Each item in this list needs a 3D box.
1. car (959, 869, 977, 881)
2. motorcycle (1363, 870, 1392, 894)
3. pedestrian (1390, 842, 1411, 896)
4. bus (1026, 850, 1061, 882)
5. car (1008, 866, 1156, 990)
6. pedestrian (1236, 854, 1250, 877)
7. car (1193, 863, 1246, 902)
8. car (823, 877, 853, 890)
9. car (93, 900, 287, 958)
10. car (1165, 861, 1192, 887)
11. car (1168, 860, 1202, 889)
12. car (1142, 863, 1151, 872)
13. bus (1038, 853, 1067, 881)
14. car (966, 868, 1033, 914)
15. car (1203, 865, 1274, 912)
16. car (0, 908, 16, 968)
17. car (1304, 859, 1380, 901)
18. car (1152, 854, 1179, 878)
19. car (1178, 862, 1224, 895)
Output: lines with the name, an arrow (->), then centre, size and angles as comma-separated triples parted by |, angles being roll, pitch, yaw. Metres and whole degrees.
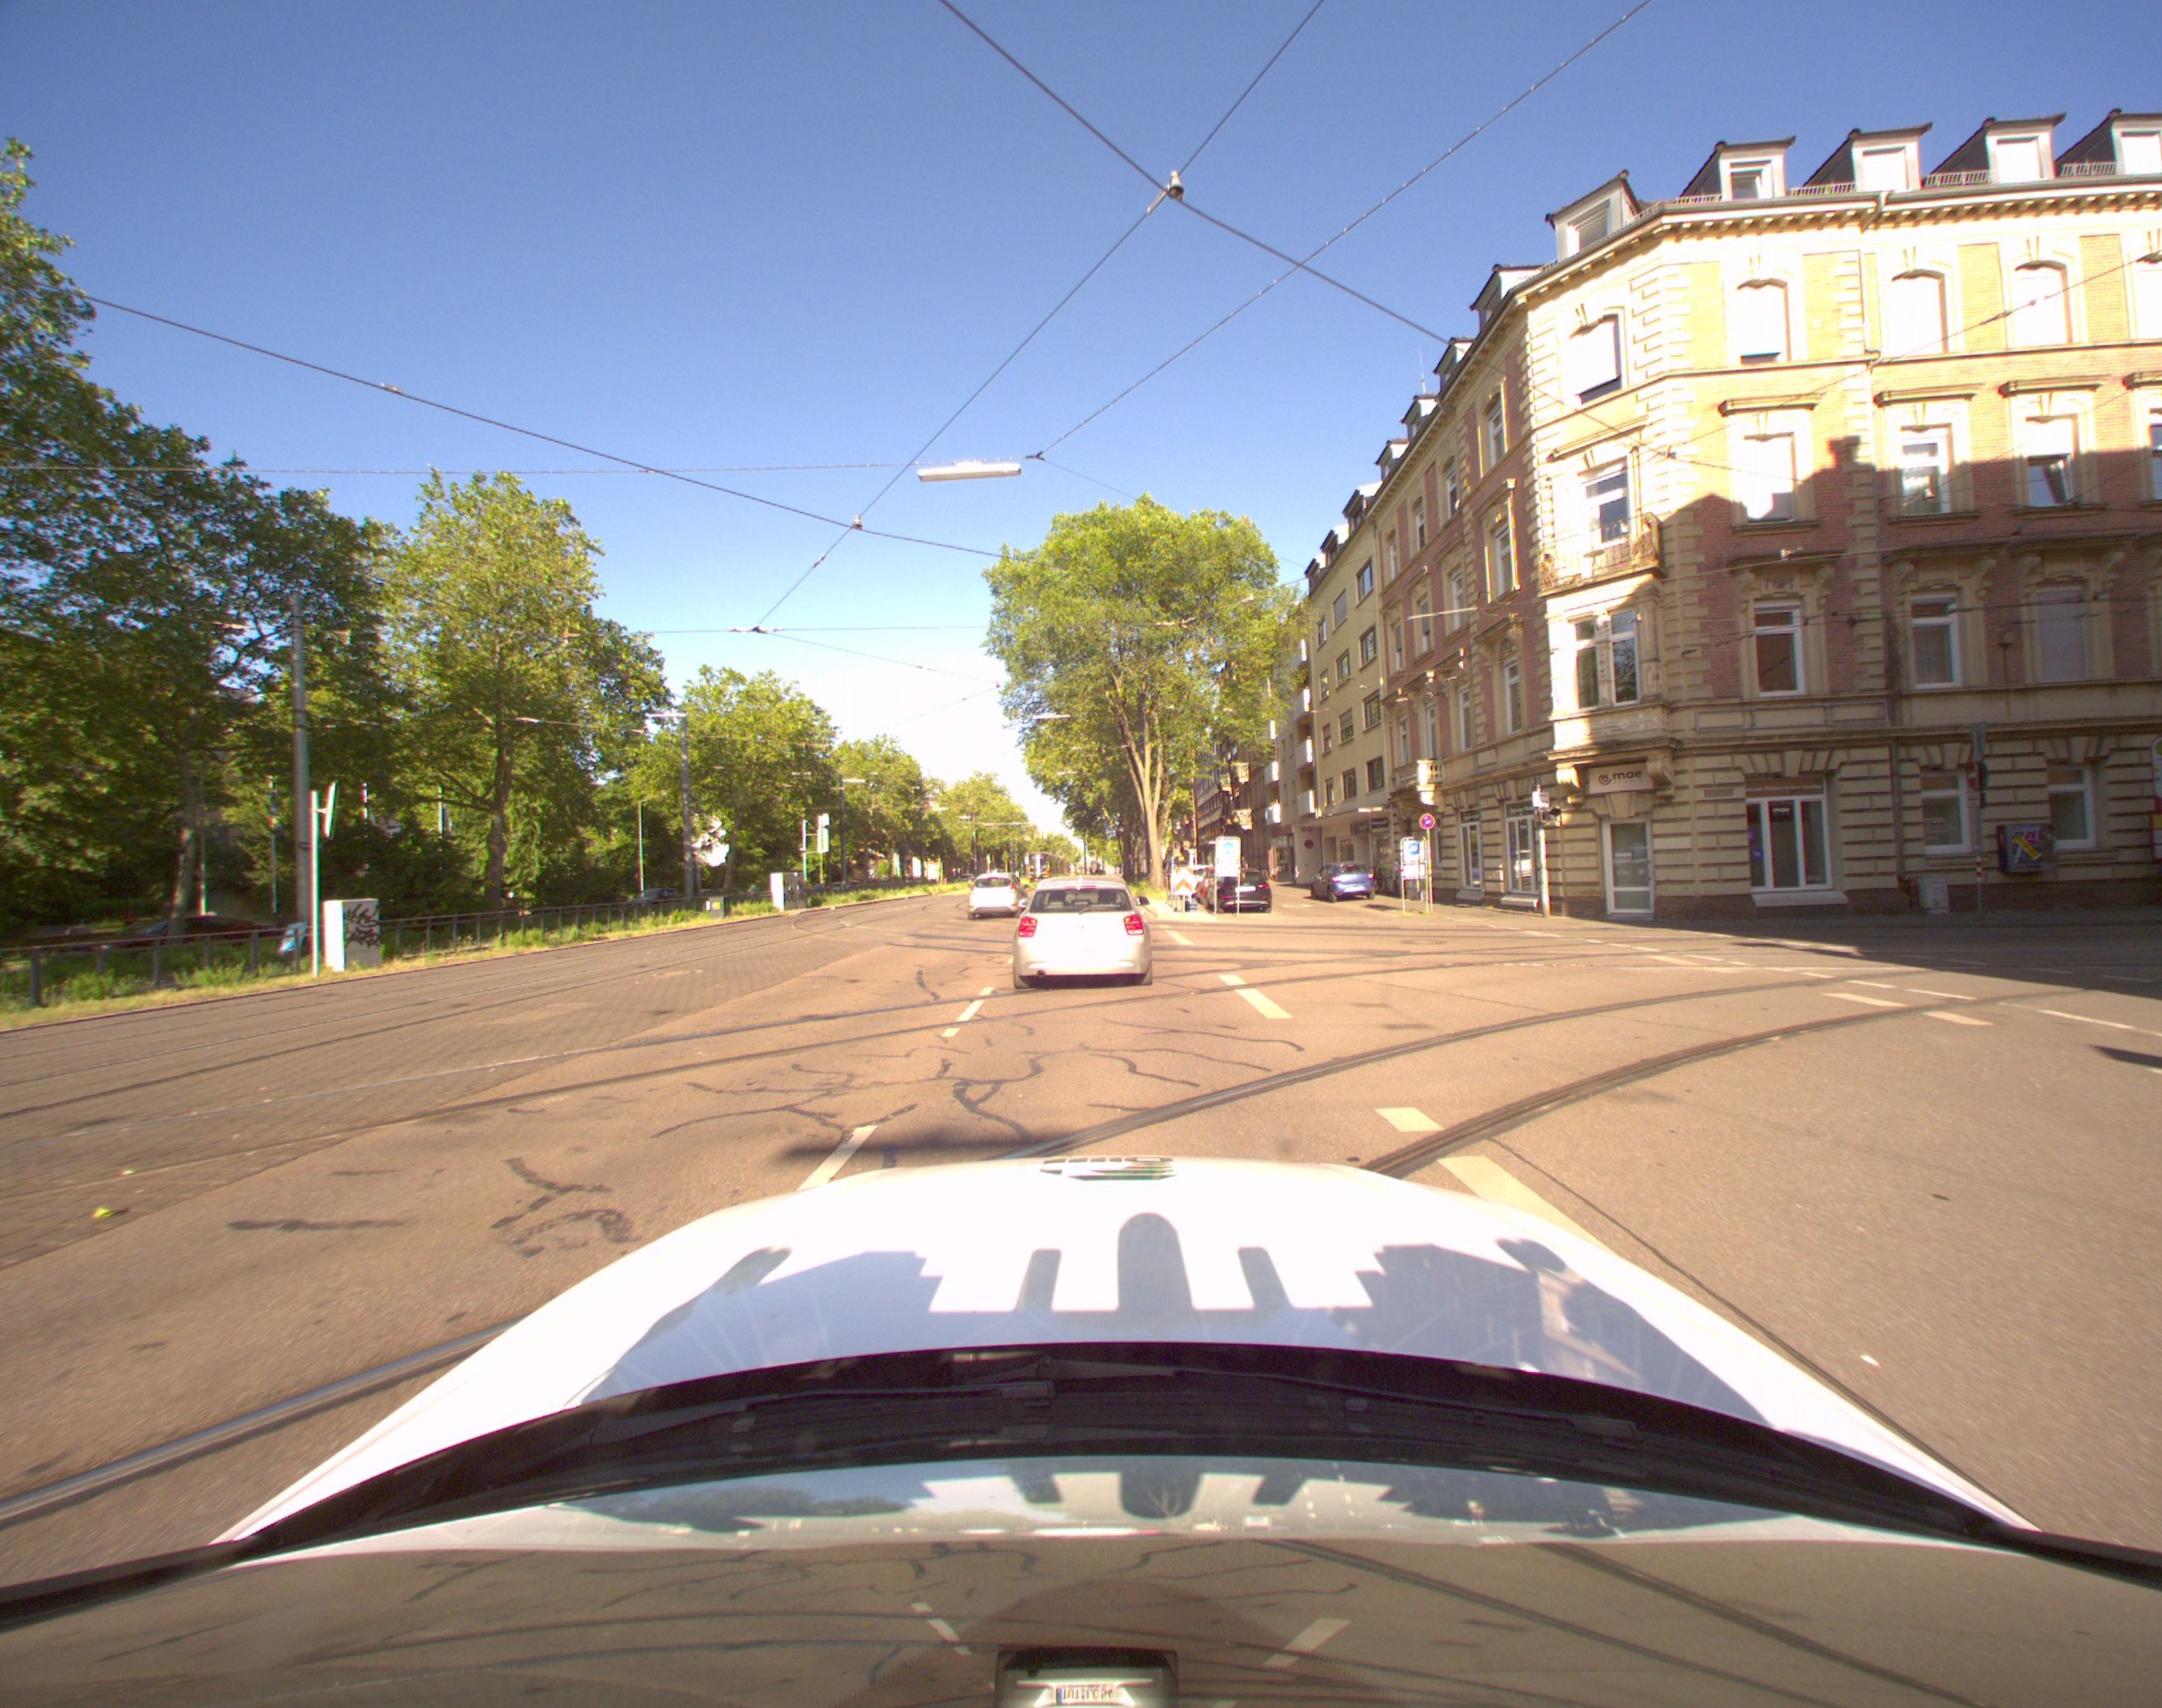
car -> -16.375, 3.008, 117.888 | 1.879, 1.619, 4.599 | 0, -1, 1
motorcycle -> 12.026, 1.125, 33.081 | 0.484, 0.895, 1.873 | -5, -1, 2
pedestrian -> 12.142, 0.567, 30.945 | 0.509, 2.014, 0.853 | 0, -1, 6
bus -> -4.343, 1.440, 97.427 | 2.857, 3.444, 13.225 | -2, -1, 3
car -> 0.071, 0.916, 11.700 | 1.755, 1.432, 4.001 | 0, -1, 2
pedestrian -> 13.045, 0.936, 65.560 | 0.995, 1.840, 0.716 | -2, -1, 4
car -> 5.435, 1.087, 32.376 | 1.583, 1.434, 3.907 | 0, -1, 2
car -> -24.988, 3.024, 83.882 | 1.762, 1.312, 3.782 | 0, -1, 2
car -> -27.391, 2.264, 25.240 | 1.584, 1.471, 3.827 | 0, -1, 6
car -> 5.713, 1.129, 47.821 | 1.504, 1.480, 3.497 | 0, -1, 5
car -> 5.510, 1.052, 43.501 | 1.554, 1.485, 3.791 | 0, -1, 4
car -> 14.266, 2.878, 177.464 | 1.748, 1.965, 4.740 | -2, -1, 2
bus -> -3.751, 1.702, 110.092 | 2.857, 3.444, 12.222 | -2, -1, 3
car -> -2.611, 1.155, 26.796 | 1.640, 1.363, 3.762 | 0, -1, 3
car -> 5.179, 1.101, 27.203 | 1.690, 1.421, 4.171 | 0, 0, 2
car -> -28.037, 2.099, 18.542 | 1.734, 1.471, 4.350 | 0, 0, 3
car -> 10.408, 0.991, 32.805 | 1.688, 1.480, 3.999 | -4, 0, 0
car -> 6.598, 0.944, 63.735 | 1.857, 1.816, 4.803 | 0, -1, 3
car -> 5.585, 1.106, 38.277 | 1.620, 1.477, 3.697 | 0, -1, 0
